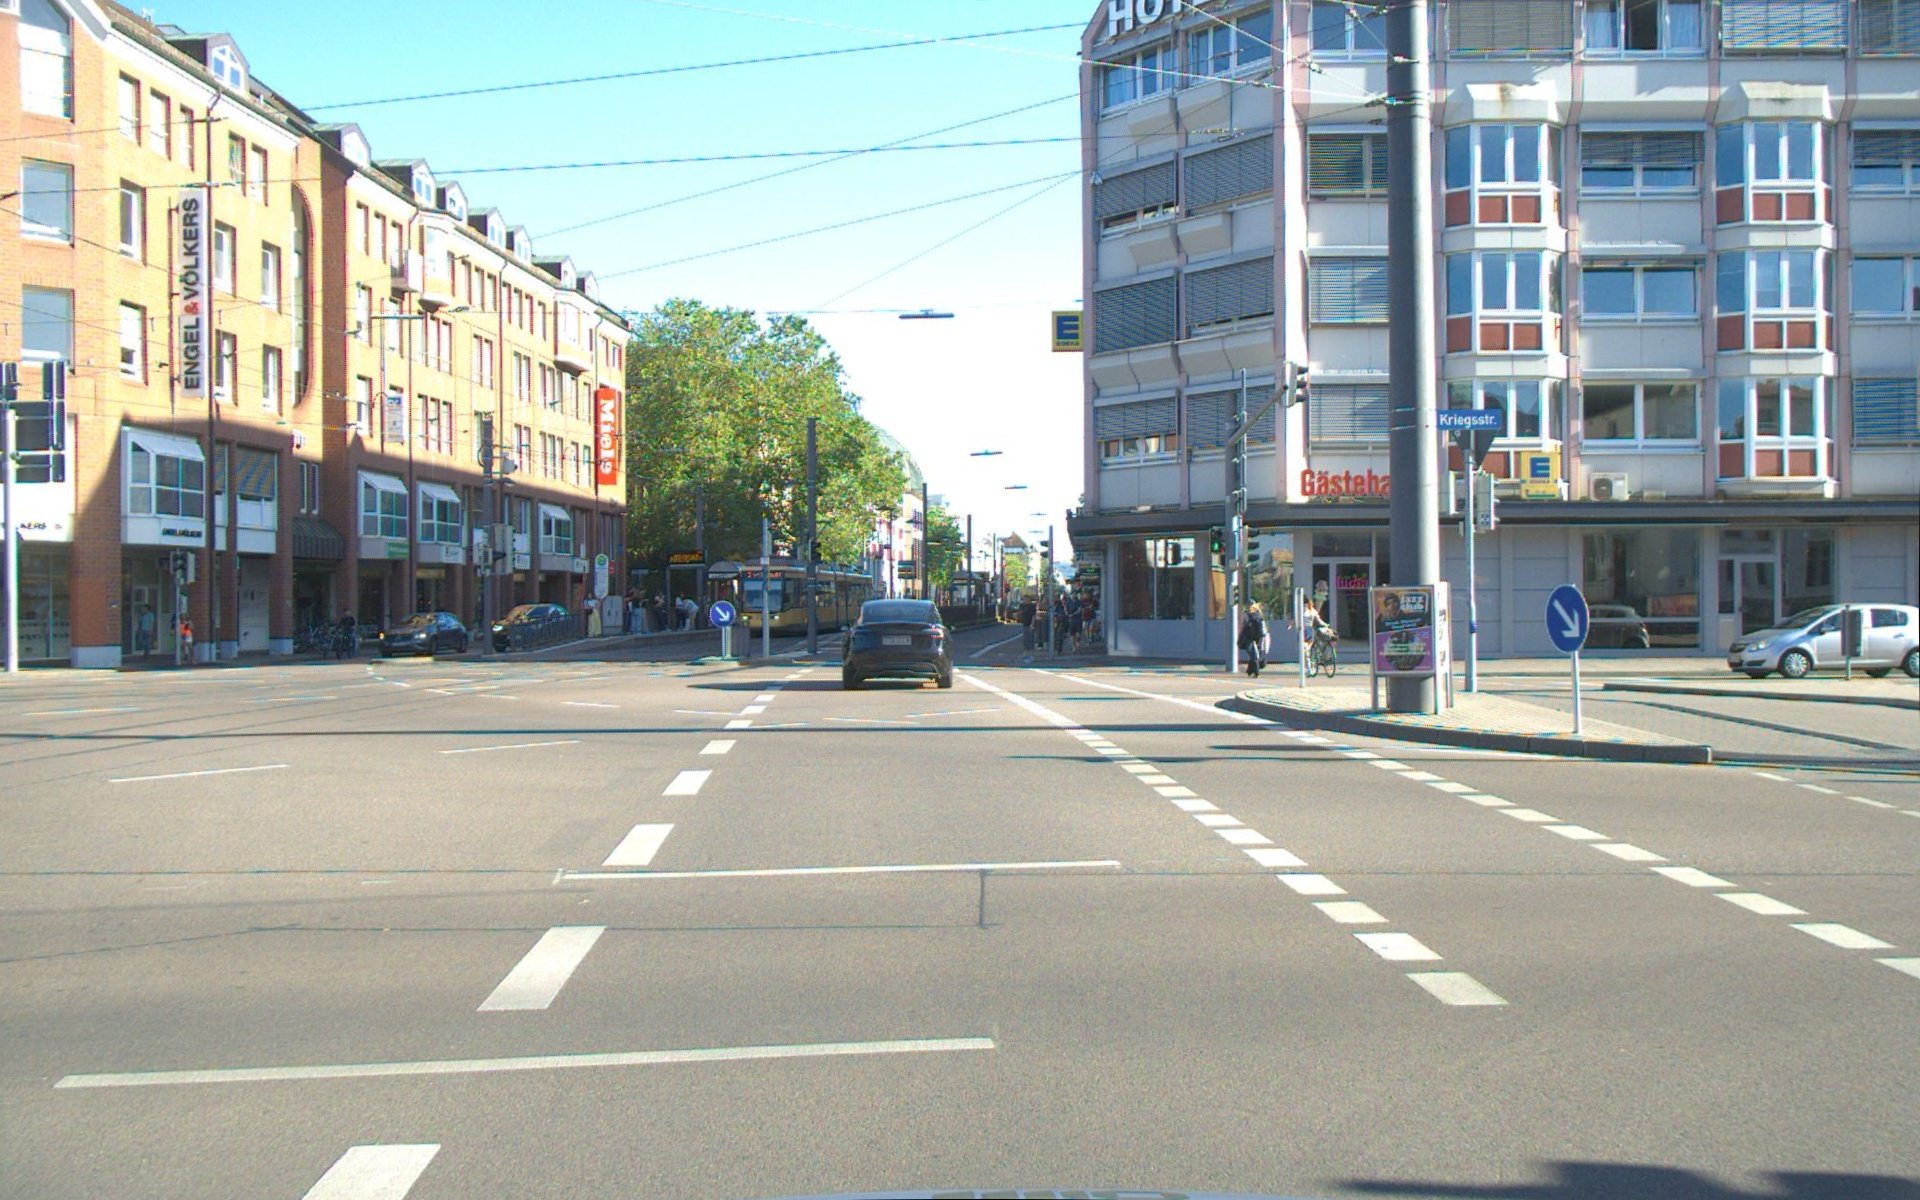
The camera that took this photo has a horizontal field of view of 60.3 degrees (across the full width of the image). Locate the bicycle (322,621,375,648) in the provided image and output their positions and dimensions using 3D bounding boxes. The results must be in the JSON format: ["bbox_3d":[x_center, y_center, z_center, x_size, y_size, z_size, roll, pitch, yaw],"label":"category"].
[{"bbox_3d":[-21.769,1.222,58.906,1.675,0.916,0.521,0,0,3],"label":"bicycle"}]

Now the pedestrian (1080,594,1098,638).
[{"bbox_3d":[5.086,0.616,65.109,0.682,1.707,0.750,0,0,5],"label":"pedestrian"}]

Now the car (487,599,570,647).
[{"bbox_3d":[-15.141,0.781,58.232,1.779,1.571,3.793,-2,0,2],"label":"car"}]

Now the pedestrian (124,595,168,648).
[{"bbox_3d":[-24.831,0.641,50.472,0.867,1.595,0.862,0,0,28],"label":"pedestrian"}]

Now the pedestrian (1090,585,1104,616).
[{"bbox_3d":[7.897,0.008,95.332,0.824,1.787,0.788,0,0,5],"label":"pedestrian"}]

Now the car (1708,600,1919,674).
[{"bbox_3d":[17.375,0.755,33.364,3.761,1.457,1.804,0,-2,2],"label":"car"}]

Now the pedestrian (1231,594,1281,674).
[{"bbox_3d":[6.084,0.691,34.076,0.764,1.604,0.866,0,1,-8],"label":"pedestrian"}]

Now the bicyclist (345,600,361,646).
[{"bbox_3d":[-19.913,0.748,54.259,0.475,1.496,0.714,0,0,-22],"label":"bicyclist"}]

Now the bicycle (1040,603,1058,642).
[{"bbox_3d":[2.646,0.665,49.235,0.478,1.121,2.126,0,0,4],"label":"bicycle"}]

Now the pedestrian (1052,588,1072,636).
[{"bbox_3d":[3.633,0.419,58.778,0.682,1.707,0.750,0,0,5],"label":"pedestrian"}]

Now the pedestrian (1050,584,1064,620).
[{"bbox_3d":[5.211,0.117,88.697,0.682,1.929,0.750,0,0,5],"label":"pedestrian"}]

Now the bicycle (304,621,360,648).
[{"bbox_3d":[-21.853,1.206,57.559,1.723,0.916,0.586,0,0,3],"label":"bicycle"}]

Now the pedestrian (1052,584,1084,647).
[{"bbox_3d":[3.099,0.443,47.361,0.895,1.785,0.840,0,0,5],"label":"pedestrian"}]

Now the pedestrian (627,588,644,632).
[{"bbox_3d":[-11.756,0.362,59.949,0.573,1.557,0.636,0,0,-10],"label":"pedestrian"}]

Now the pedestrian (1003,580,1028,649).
[{"bbox_3d":[1.468,0.379,43.623,0.613,1.813,0.917,0,0,0],"label":"pedestrian"}]

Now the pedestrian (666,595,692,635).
[{"bbox_3d":[-11.703,0.627,68.949,0.979,1.653,0.847,0,0,-4],"label":"pedestrian"}]

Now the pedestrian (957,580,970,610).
[{"bbox_3d":[0.204,-0.310,102.298,0.741,1.800,0.699,0,0,3],"label":"pedestrian"}]

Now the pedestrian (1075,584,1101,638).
[{"bbox_3d":[4.060,0.342,52.489,0.674,1.718,0.670,0,0,-10],"label":"pedestrian"}]

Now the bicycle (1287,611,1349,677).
[{"bbox_3d":[7.476,0.904,34.622,0.534,1.307,1.902,0,0,-12],"label":"bicycle"}]

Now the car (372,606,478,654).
[{"bbox_3d":[-17.938,0.970,55.611,1.778,1.479,3.981,-2,0,8],"label":"car"}]

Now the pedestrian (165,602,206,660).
[{"bbox_3d":[-22.397,0.878,47.850,0.697,1.622,0.777,3,0,4],"label":"pedestrian"}]

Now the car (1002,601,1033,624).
[{"bbox_3d":[4.405,0.926,125.910,1.700,1.694,3.712,0,0,13],"label":"car"}]

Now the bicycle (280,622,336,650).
[{"bbox_3d":[-21.976,1.203,55.735,1.675,0.916,0.521,0,0,3],"label":"bicycle"}]

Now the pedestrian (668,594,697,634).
[{"bbox_3d":[-11.718,0.583,69.864,1.083,1.653,0.847,0,0,-4],"label":"pedestrian"}]

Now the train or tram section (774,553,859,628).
[{"bbox_3d":[-7.206,-0.470,84.551,2.656,3.608,10.174,0,0,4],"label":"train or tram section"}]

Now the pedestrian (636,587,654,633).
[{"bbox_3d":[-12.313,0.390,64.595,0.625,1.751,0.583,0,0,-17],"label":"pedestrian"}]

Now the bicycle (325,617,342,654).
[{"bbox_3d":[-20.507,1.142,54.119,0.483,1.178,1.704,0,0,-22],"label":"bicycle"}]

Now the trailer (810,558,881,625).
[{"bbox_3d":[-6.444,-0.492,94.280,2.656,3.608,9.363,0,0,4],"label":"trailer"}]

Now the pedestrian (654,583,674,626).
[{"bbox_3d":[-12.102,0.172,67.578,0.622,1.751,0.609,0,0,13],"label":"pedestrian"}]

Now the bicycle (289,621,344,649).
[{"bbox_3d":[-21.937,1.198,56.375,1.675,0.916,0.521,0,0,3],"label":"bicycle"}]

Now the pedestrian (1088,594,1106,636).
[{"bbox_3d":[5.647,0.609,68.053,0.731,1.707,0.699,0,0,5],"label":"pedestrian"}]

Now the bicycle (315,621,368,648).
[{"bbox_3d":[-21.814,1.219,58.307,1.675,0.916,0.521,0,0,3],"label":"bicycle"}]

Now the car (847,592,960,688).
[{"bbox_3d":[-0.940,0.648,27.871,1.754,1.476,3.938,-1,-1,-2],"label":"car"}]

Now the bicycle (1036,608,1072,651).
[{"bbox_3d":[2.669,0.827,47.130,0.480,1.181,1.967,0,0,-13],"label":"bicycle"}]

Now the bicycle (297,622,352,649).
[{"bbox_3d":[-21.887,1.215,56.965,1.675,0.916,0.521,0,0,3],"label":"bicycle"}]

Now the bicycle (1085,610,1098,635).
[{"bbox_3d":[4.730,0.805,59.370,0.406,0.871,1.238,0,0,6],"label":"bicycle"}]

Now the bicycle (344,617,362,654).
[{"bbox_3d":[-19.931,1.167,54.306,0.483,1.178,1.671,0,0,-22],"label":"bicycle"}]

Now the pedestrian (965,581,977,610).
[{"bbox_3d":[0.689,-0.306,103.646,0.664,1.800,0.663,0,0,2],"label":"pedestrian"}]

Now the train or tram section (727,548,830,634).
[{"bbox_3d":[-8.022,-0.409,74.478,2.671,3.604,10.092,0,0,5],"label":"train or tram section"}]

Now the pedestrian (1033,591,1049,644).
[{"bbox_3d":[2.432,0.515,49.787,0.462,1.590,0.545,0,0,1],"label":"pedestrian"}]

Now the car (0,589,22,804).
[{"bbox_3d":[-6.939,0.692,9.831,1.740,1.469,4.499,0,1,-21],"label":"car"}]

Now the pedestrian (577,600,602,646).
[{"bbox_3d":[-12.969,0.803,57.954,0.622,1.591,0.585,0,0,24],"label":"pedestrian"}]

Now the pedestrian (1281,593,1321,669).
[{"bbox_3d":[7.161,0.637,34.764,0.516,1.582,0.865,0,0,-13],"label":"pedestrian"}]

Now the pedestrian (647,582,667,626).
[{"bbox_3d":[-12.258,0.169,66.960,0.622,1.751,0.586,0,0,13],"label":"pedestrian"}]
